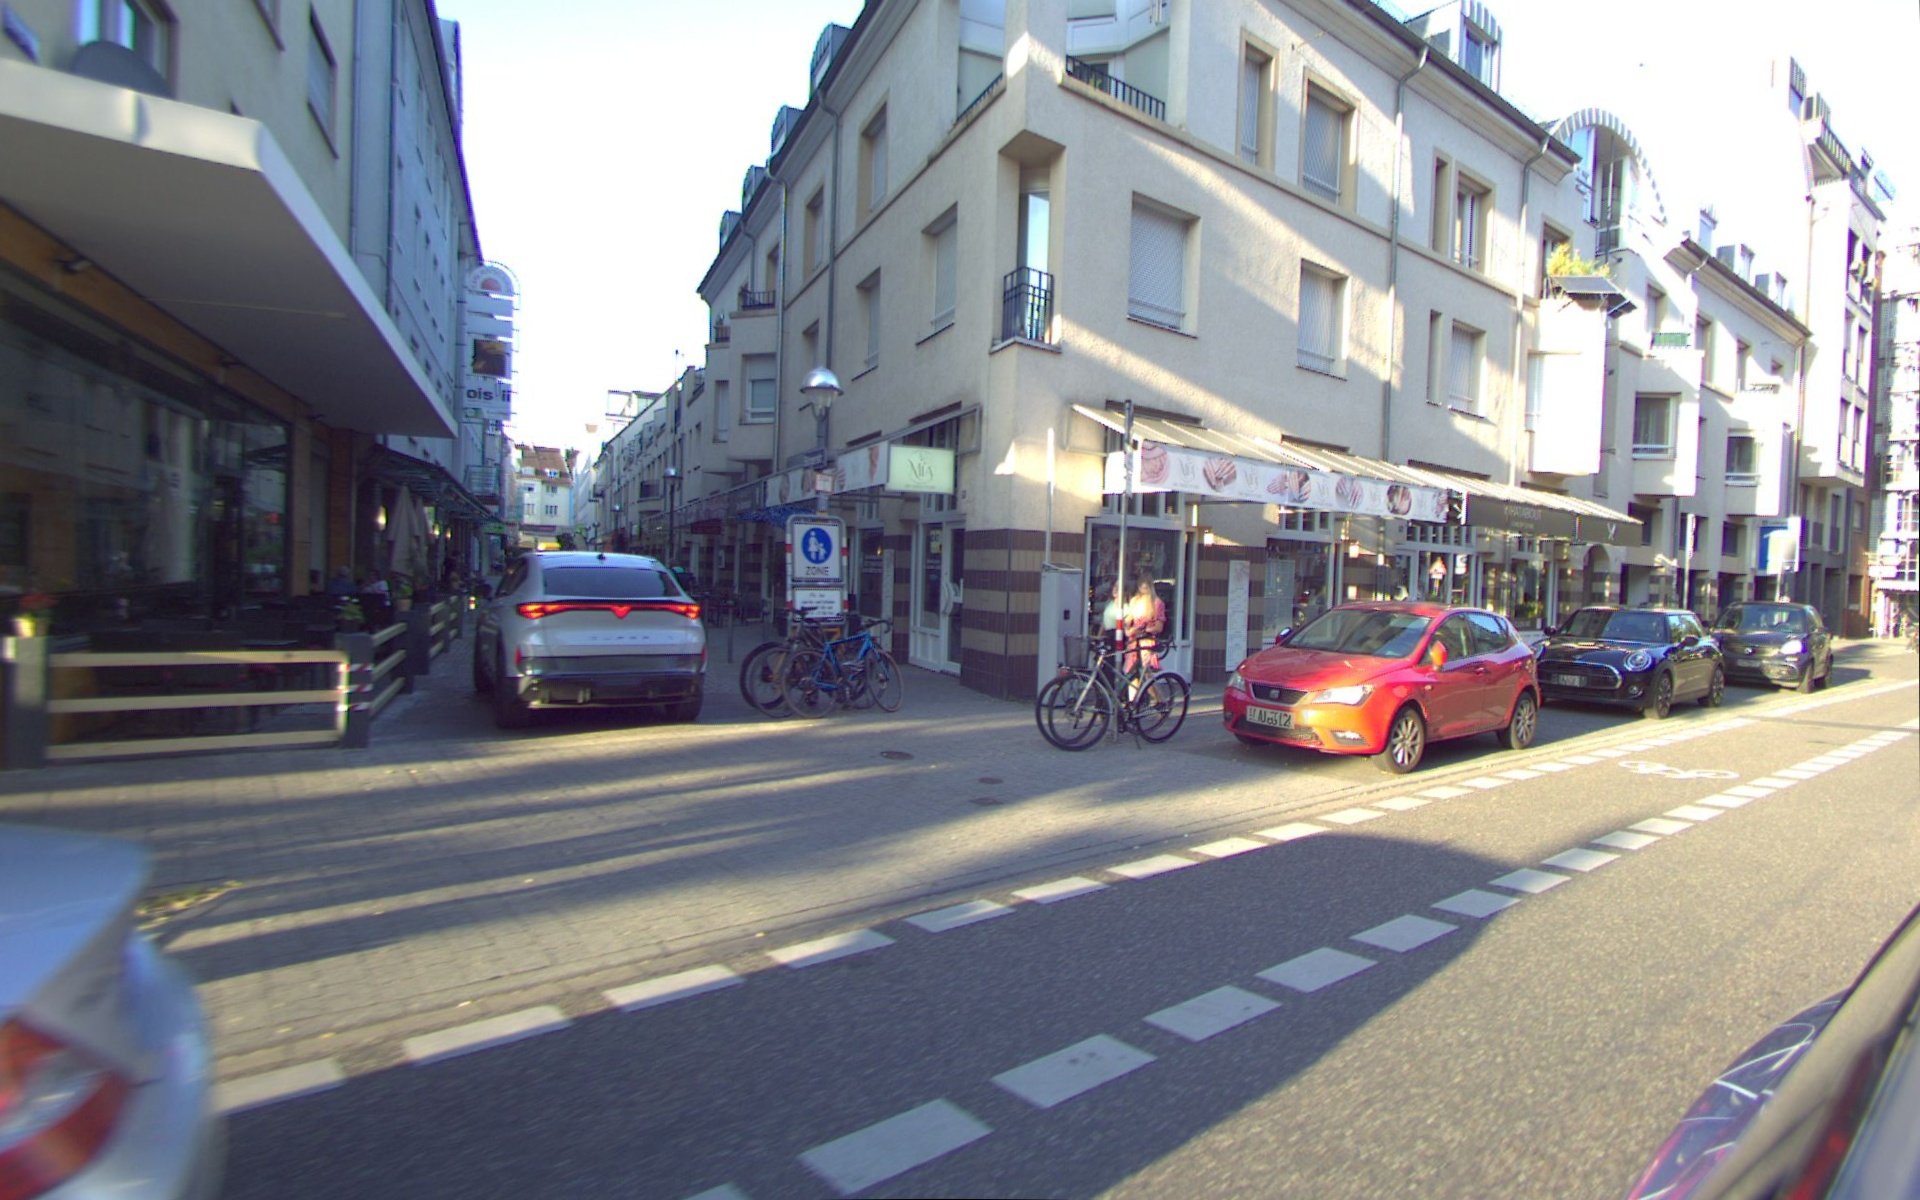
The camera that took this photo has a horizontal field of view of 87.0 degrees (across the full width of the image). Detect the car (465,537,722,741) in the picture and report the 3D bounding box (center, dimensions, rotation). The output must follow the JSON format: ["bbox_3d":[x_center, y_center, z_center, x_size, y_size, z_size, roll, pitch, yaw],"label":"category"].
[{"bbox_3d":[-3.962,0.210,10.459,1.819,1.631,4.190,1,3,-29],"label":"car"}]

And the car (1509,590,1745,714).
[{"bbox_3d":[9.500,0.644,14.322,3.681,1.438,1.727,0,3,-40],"label":"car"}]

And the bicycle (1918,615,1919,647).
[{"bbox_3d":[31.395,1.004,32.790,0.468,0.970,1.888,3,2,44],"label":"bicycle"}]

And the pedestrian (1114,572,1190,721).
[{"bbox_3d":[2.073,0.479,10.936,0.543,1.549,0.542,1,2,-33],"label":"pedestrian"}]

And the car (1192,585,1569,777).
[{"bbox_3d":[4.243,0.643,9.965,3.960,1.438,1.727,0,3,-40],"label":"car"}]

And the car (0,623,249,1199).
[{"bbox_3d":[-3.183,0.762,0.542,4.470,1.395,1.804,0,0,-40],"label":"car"}]

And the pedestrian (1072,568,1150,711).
[{"bbox_3d":[1.705,0.427,11.444,0.638,1.549,0.542,1,2,-33],"label":"pedestrian"}]

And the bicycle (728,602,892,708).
[{"bbox_3d":[-1.580,0.555,10.896,1.813,1.046,0.391,0,2,-42],"label":"bicycle"}]

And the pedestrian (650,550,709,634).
[{"bbox_3d":[-5.743,-0.184,20.716,0.912,1.665,0.748,3,2,39],"label":"pedestrian"}]

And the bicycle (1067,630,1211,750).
[{"bbox_3d":[1.669,0.787,9.281,1.588,0.968,0.391,0,2,-42],"label":"bicycle"}]

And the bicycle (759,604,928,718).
[{"bbox_3d":[-1.156,0.585,10.368,1.813,1.063,0.391,0,2,-42],"label":"bicycle"}]

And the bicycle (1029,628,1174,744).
[{"bbox_3d":[1.371,0.780,9.609,1.611,0.968,0.391,0,2,-42],"label":"bicycle"}]

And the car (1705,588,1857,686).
[{"bbox_3d":[14.997,0.617,18.463,2.753,1.568,1.572,0,3,-39],"label":"car"}]
